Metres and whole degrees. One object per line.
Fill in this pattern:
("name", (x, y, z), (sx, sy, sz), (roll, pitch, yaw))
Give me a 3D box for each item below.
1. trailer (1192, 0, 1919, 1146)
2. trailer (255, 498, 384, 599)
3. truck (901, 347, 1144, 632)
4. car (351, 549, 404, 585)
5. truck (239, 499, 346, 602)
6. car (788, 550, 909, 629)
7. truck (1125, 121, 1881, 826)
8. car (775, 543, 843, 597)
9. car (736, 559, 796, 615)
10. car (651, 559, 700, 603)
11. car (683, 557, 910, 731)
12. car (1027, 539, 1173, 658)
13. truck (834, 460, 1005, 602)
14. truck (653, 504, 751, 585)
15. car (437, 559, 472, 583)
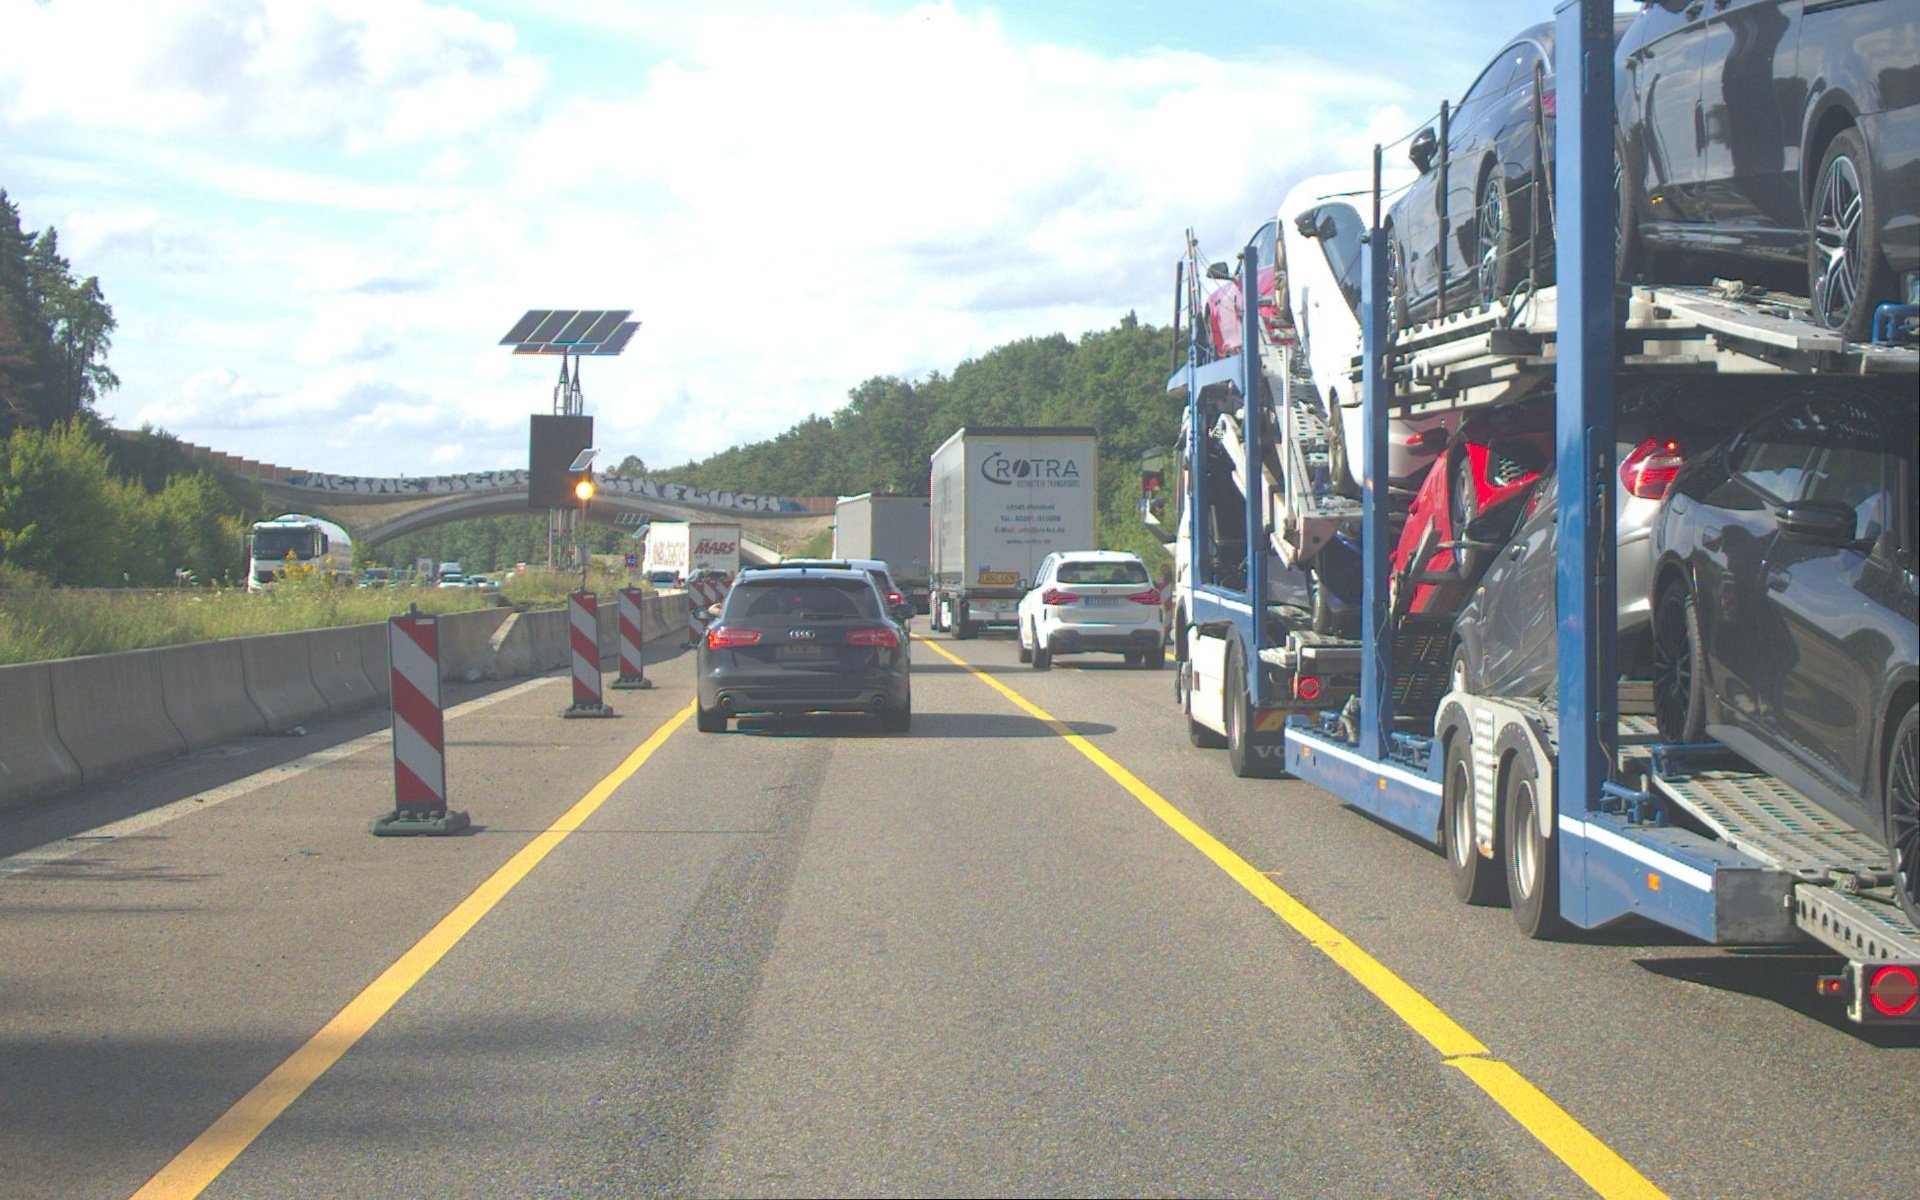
("trailer", (3.868, -0.807, 15.934), (3.726, 4.182, 16.229), (0, 0, -3))
("trailer", (-23.190, -1.832, 124.980), (2.802, 3.478, 11.113), (0, 0, -1))
("truck", (1.038, -2.133, 72.798), (3.677, 5.335, 16.203), (0, 0, -4))
("car", (-26.544, -1.494, 156.870), (1.778, 1.597, 4.018), (0, 0, -1))
("truck", (-23.045, -1.691, 118.827), (2.785, 3.478, 4.939), (0, 0, -1))
("car", (-2.141, -0.203, 64.998), (1.890, 1.441, 4.001), (0, 0, -7))
("truck", (3.445, -0.777, 24.516), (3.761, 4.182, 7.952), (0, 0, -3))
("car", (-4.722, -0.926, 107.301), (1.890, 1.638, 4.018), (0, 0, -6))
("car", (-7.063, -0.473, 124.926), (1.993, 2.007, 4.001), (0, 0, -6))
("car", (-13.179, -0.879, 159.101), (1.993, 2.007, 4.001), (0, 0, -8))
("car", (-1.400, 0.353, 30.772), (1.890, 1.441, 4.000), (0, 0, -1))
("car", (1.998, -0.036, 50.070), (1.890, 1.638, 4.018), (0, 0, -1))
("truck", (-1.511, -2.298, 117.729), (4.318, 4.585, 11.127), (0, 0, -9))
("truck", (-13.139, -2.776, 173.946), (3.653, 3.915, 11.070), (0, 0, -11))
("car", (-34.039, -1.932, 231.672), (1.778, 1.597, 4.018), (0, 0, -1))
